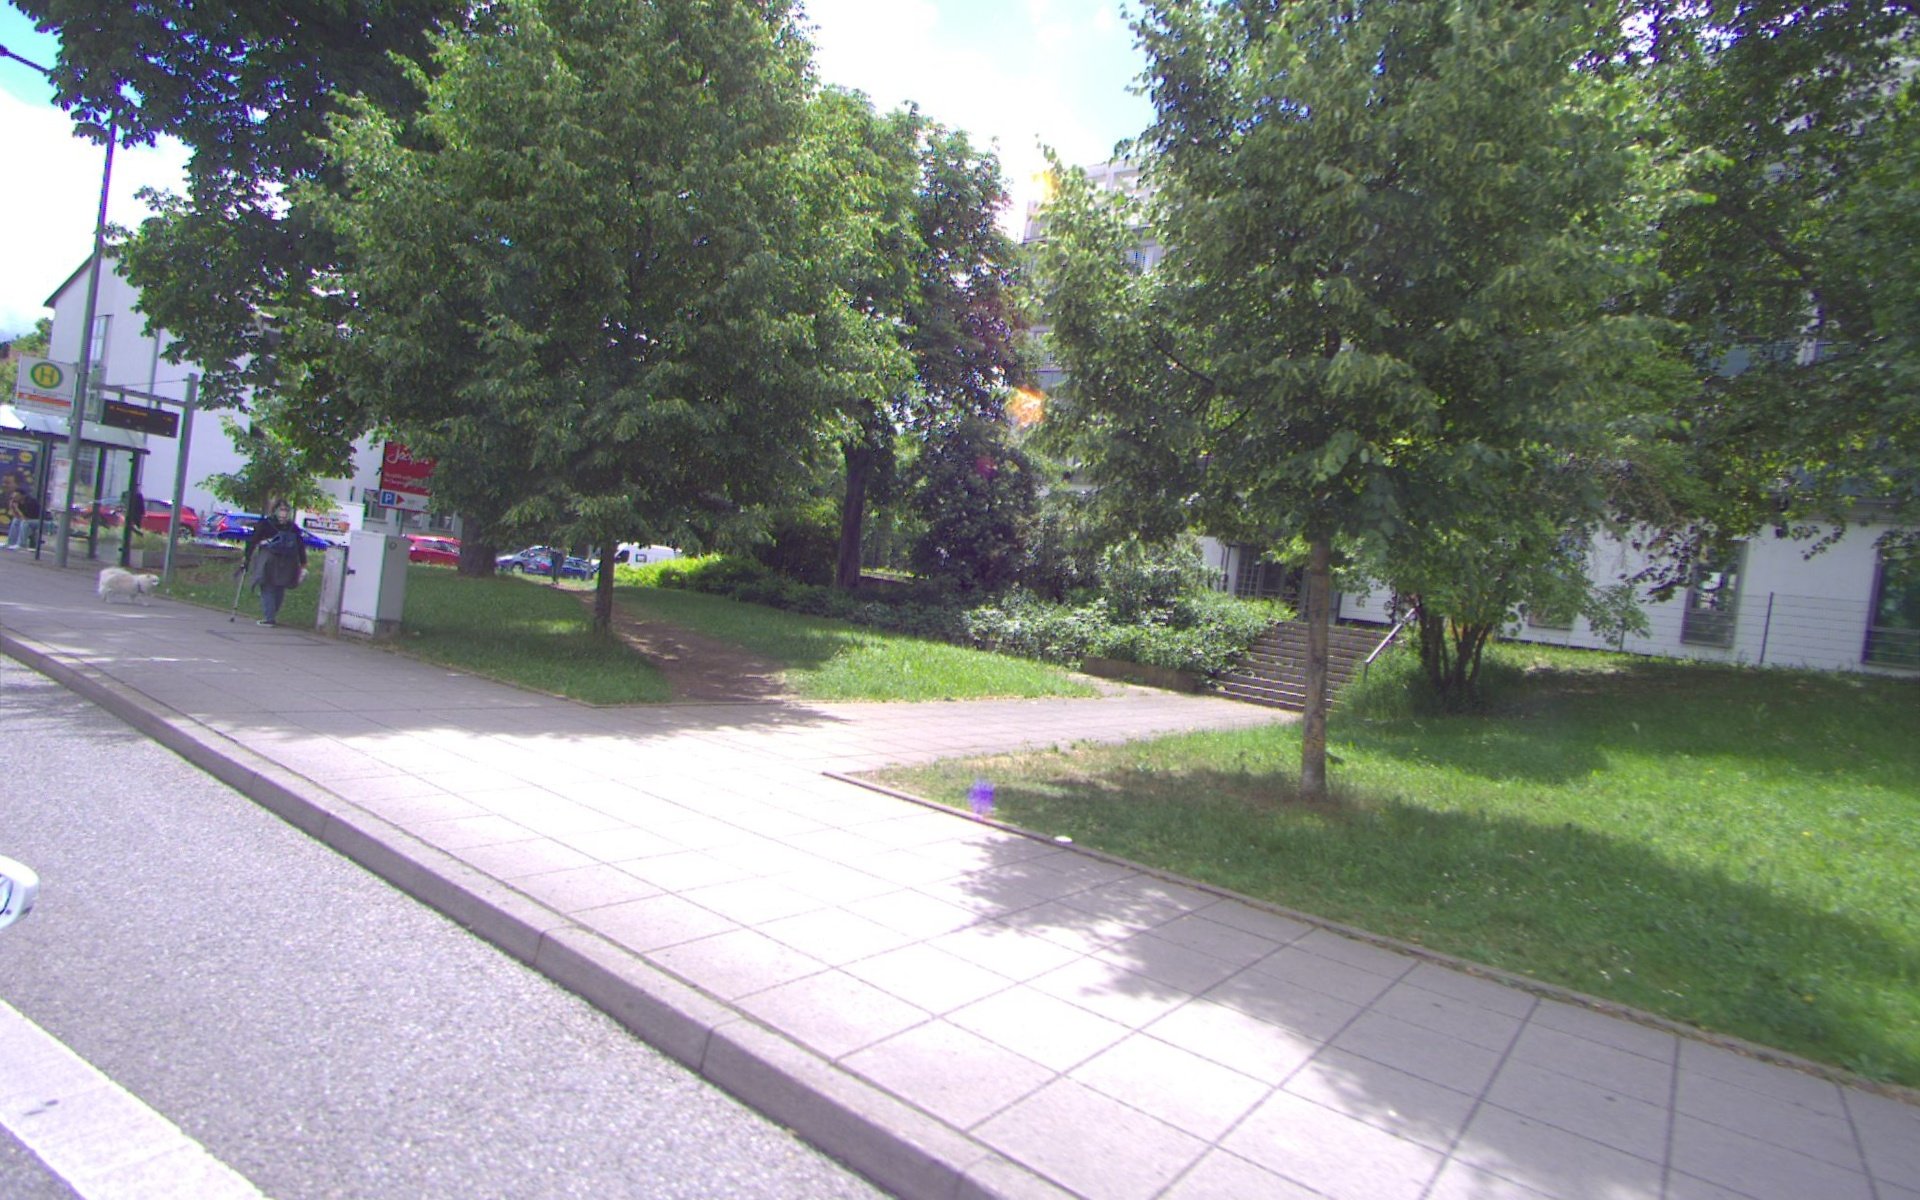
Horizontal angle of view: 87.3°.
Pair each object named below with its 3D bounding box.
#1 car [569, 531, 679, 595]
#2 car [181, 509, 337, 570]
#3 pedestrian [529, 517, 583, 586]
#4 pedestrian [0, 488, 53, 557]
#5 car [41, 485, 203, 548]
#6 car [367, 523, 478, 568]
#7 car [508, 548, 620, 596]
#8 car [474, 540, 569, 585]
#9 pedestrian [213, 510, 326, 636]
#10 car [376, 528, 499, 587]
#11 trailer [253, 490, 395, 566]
[{"bbox_3d":[-19.091,-2.073,57.393,2.169,2.902,5.581,7,0,34],"label":"car"},{"bbox_3d":[-23.479,-2.004,33.827,1.865,1.475,3.796,9,2,32],"label":"car"},{"bbox_3d":[-11.296,-1.347,28.137,0.847,1.782,0.983,7,0,44],"label":"pedestrian"},{"bbox_3d":[-19.283,-1.598,20.629,0.675,1.274,0.827,8,1,37],"label":"pedestrian"},{"bbox_3d":[-31.332,-3.092,37.738,1.966,1.581,4.164,10,1,29],"label":"car"},{"bbox_3d":[-25.397,-2.549,47.650,1.967,1.521,4.083,9,1,32],"label":"car"},{"bbox_3d":[-17.262,-1.190,44.019,1.966,1.578,4.084,7,0,31],"label":"car"},{"bbox_3d":[-22.585,-1.907,51.966,1.878,1.744,3.988,7,0,35],"label":"car"},{"bbox_3d":[-8.599,-0.326,12.539,0.817,1.442,0.820,6,0,35],"label":"pedestrian"},{"bbox_3d":[-20.271,-1.622,39.136,1.799,1.663,3.692,9,0,32],"label":"car"},{"bbox_3d":[-27.707,-3.096,43.962,2.185,2.517,4.543,9,0,33],"label":"trailer"}]
